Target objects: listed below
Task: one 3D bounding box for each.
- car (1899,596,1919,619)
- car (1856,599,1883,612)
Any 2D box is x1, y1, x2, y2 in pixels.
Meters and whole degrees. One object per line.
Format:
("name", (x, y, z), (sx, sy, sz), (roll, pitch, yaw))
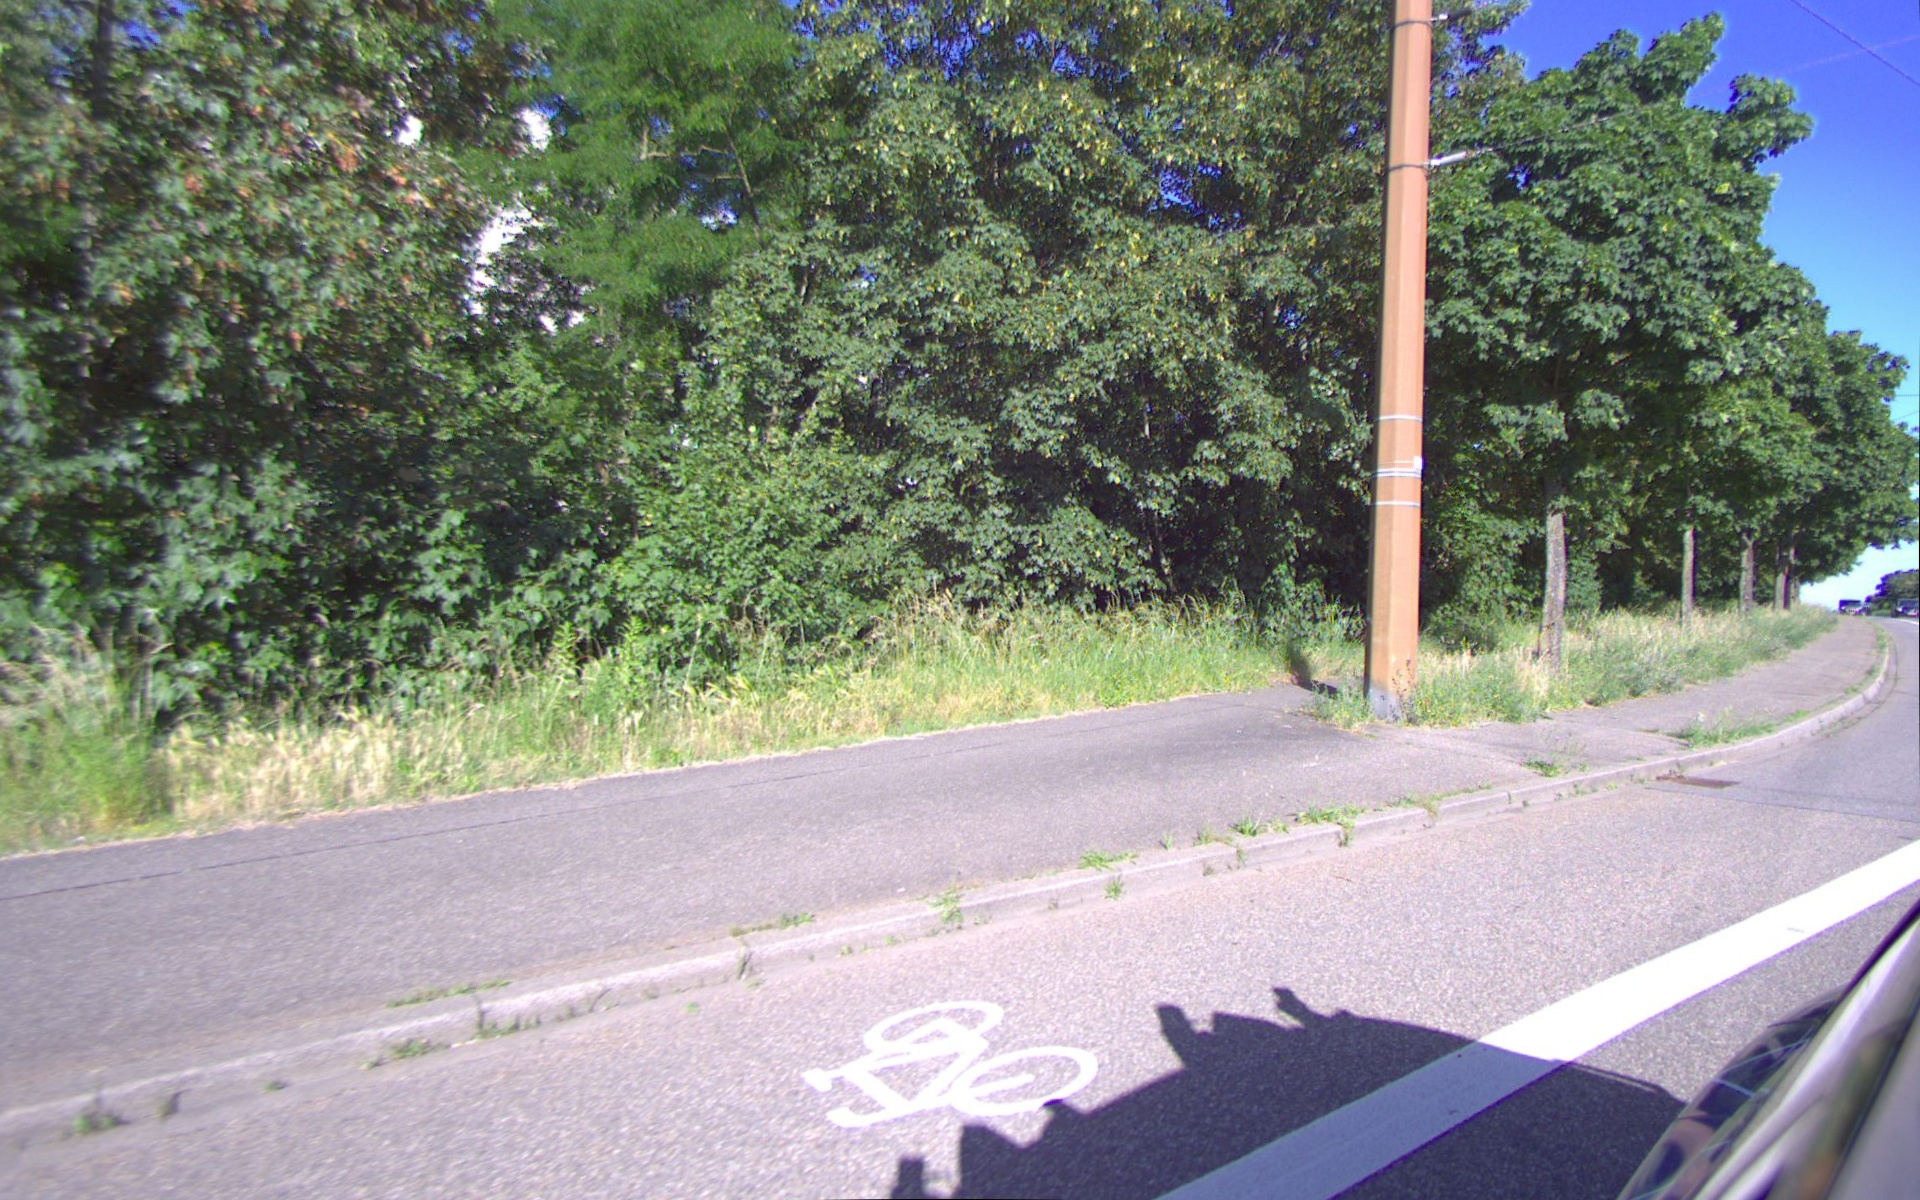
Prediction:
("car", (70.261, 0.555, 74.008), (1.990, 1.606, 3.945), (0, 0, 38))
("car", (112.514, 0.673, 125.207), (1.987, 1.606, 3.949), (0, 0, 35))
